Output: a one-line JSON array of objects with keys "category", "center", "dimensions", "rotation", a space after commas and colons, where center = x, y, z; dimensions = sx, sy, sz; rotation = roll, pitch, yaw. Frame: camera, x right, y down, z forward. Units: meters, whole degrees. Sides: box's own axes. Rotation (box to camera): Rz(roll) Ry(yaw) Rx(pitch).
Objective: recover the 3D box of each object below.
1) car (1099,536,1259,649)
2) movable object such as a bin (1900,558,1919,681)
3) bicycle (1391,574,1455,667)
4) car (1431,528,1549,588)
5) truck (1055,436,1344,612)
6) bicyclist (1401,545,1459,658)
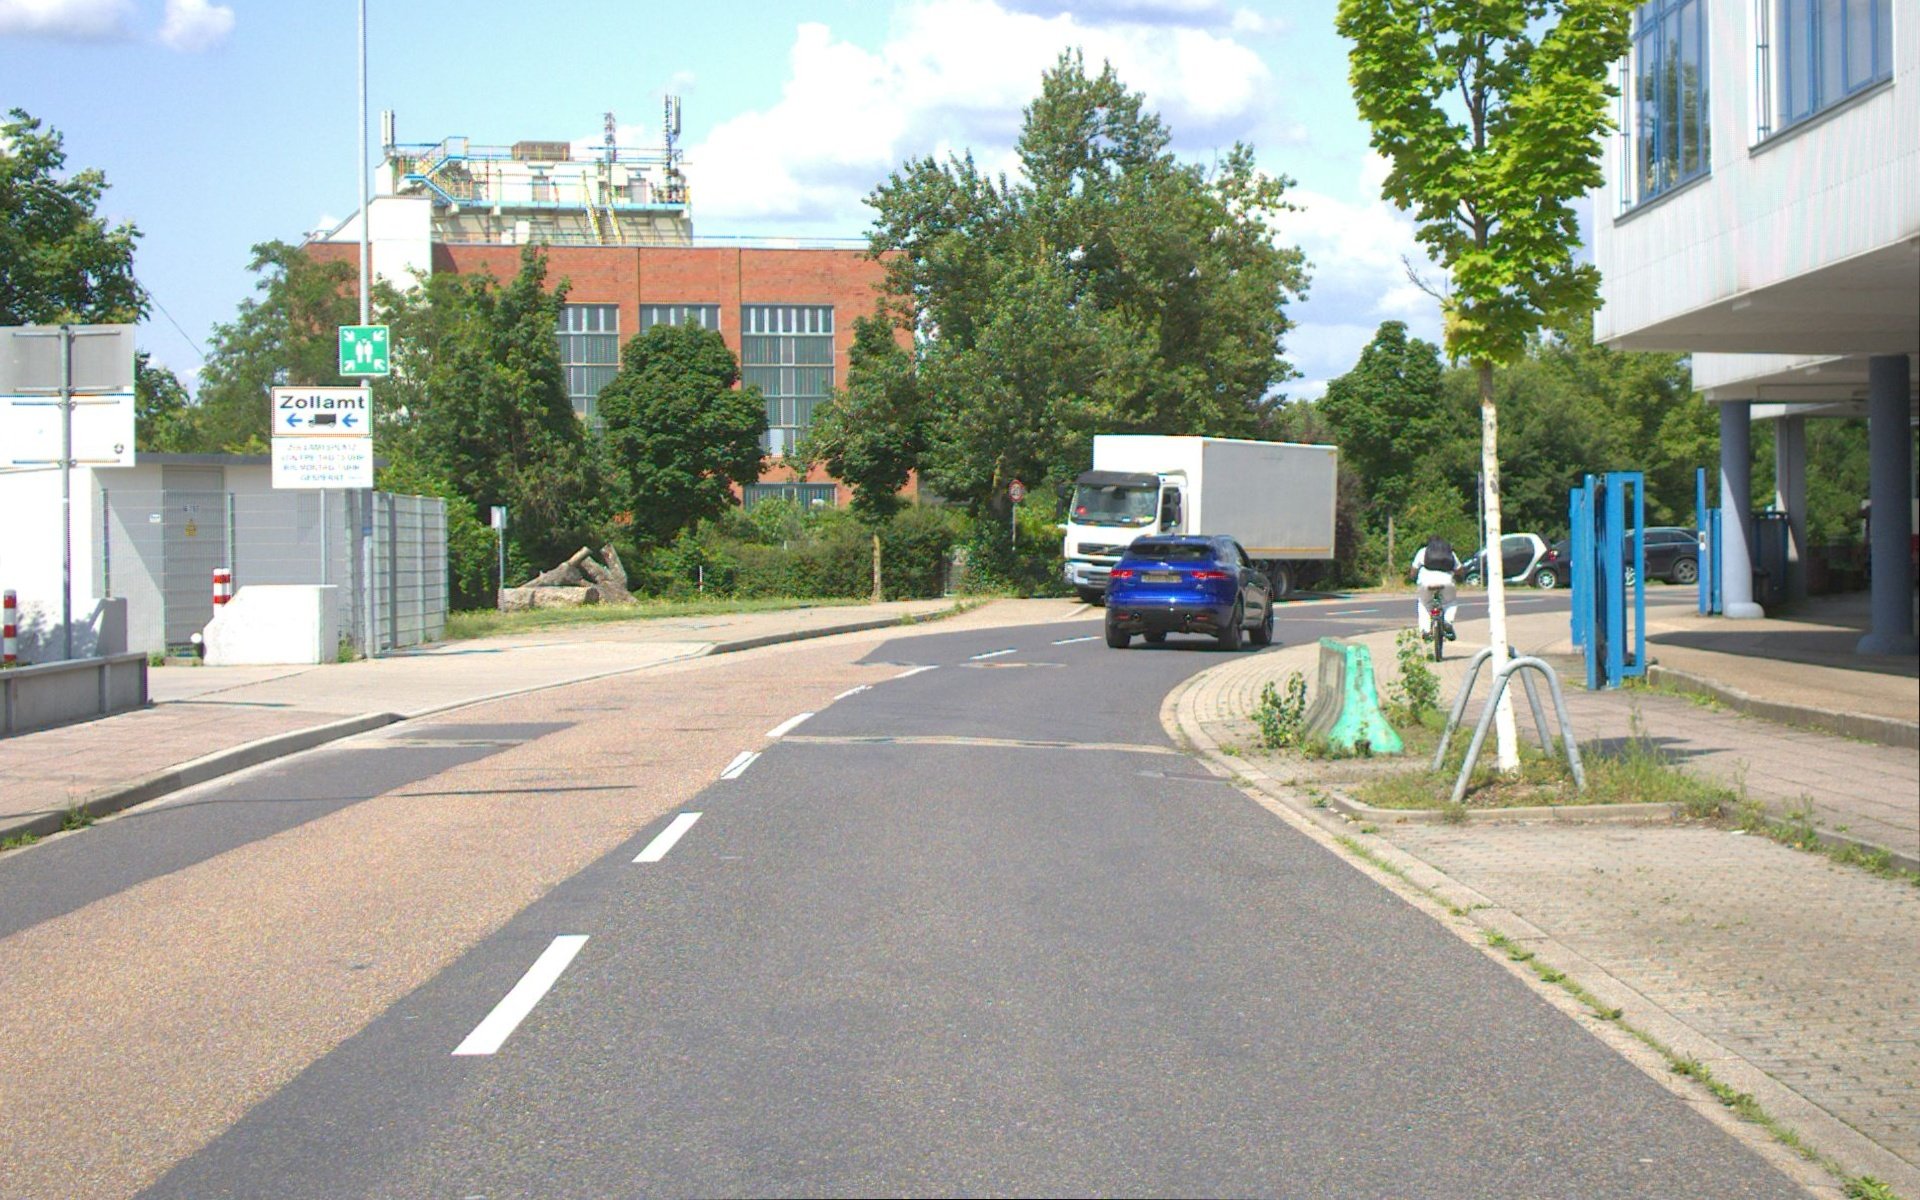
[{"category": "car", "center": [3.296, -0.126, 50.994], "dimensions": [1.910, 1.588, 4.699], "rotation": [0, 0, 9]}, {"category": "movable object such as a bin", "center": [11.412, 0.225, 39.487], "dimensions": [0.804, 1.409, 1.358], "rotation": [1, 0, -3]}, {"category": "bicycle", "center": [5.758, 0.245, 42.677], "dimensions": [0.667, 1.105, 2.167], "rotation": [0, 1, 11]}, {"category": "car", "center": [13.875, -1.101, 90.147], "dimensions": [2.898, 1.564, 1.890], "rotation": [0, 0, 4]}, {"category": "truck", "center": [5.331, -1.682, 74.405], "dimensions": [2.325, 3.555, 9.352], "rotation": [2, 2, 30]}, {"category": "bicyclist", "center": [5.869, 0.009, 42.898], "dimensions": [0.663, 1.393, 0.858], "rotation": [0, 1, 11]}]
